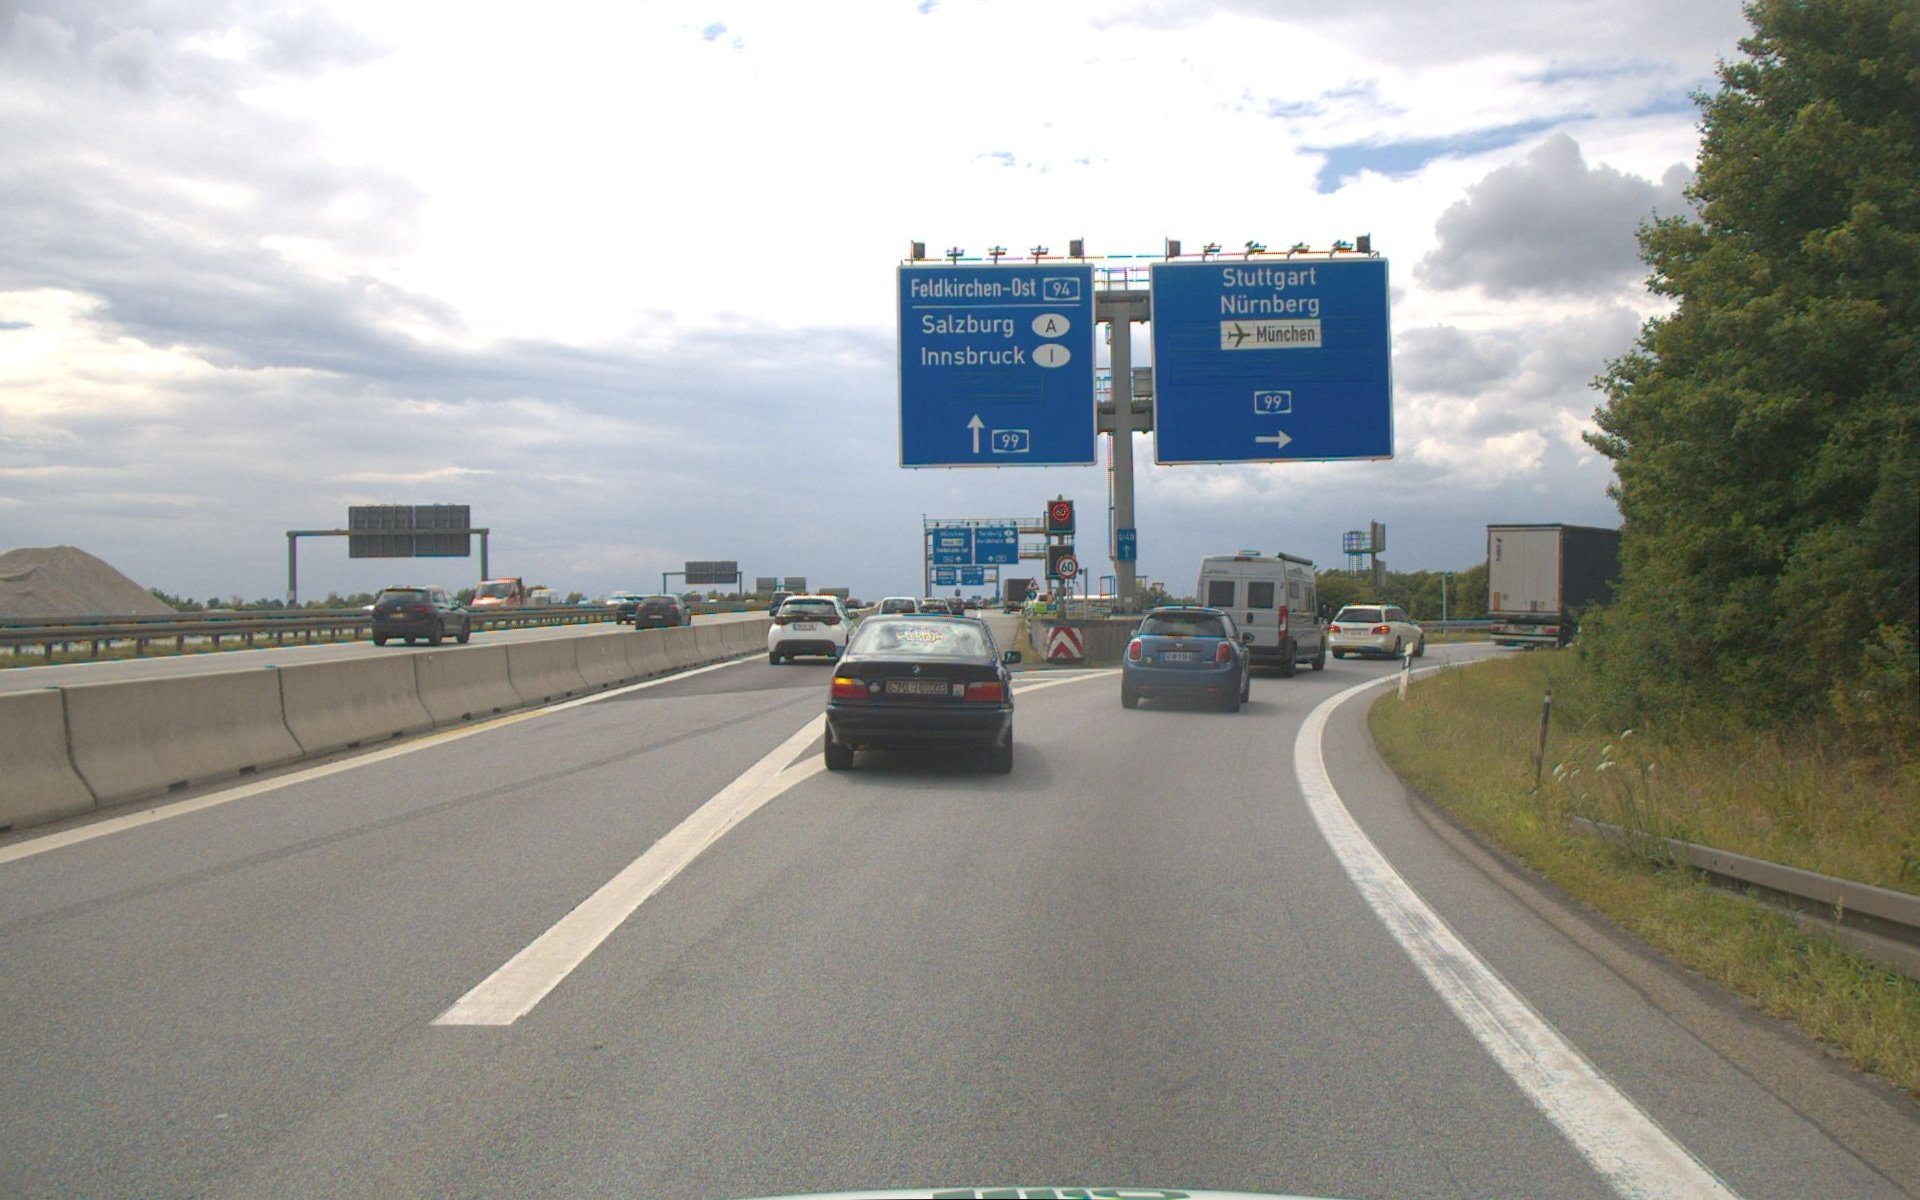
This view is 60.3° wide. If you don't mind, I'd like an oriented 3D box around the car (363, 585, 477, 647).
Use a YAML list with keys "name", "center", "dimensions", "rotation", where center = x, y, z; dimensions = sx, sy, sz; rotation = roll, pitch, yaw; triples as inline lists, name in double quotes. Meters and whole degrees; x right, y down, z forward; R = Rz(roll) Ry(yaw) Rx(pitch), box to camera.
- name: "car"
  center: [-15.315, 0.441, 47.145]
  dimensions: [1.862, 1.667, 4.233]
  rotation: [1, 0, 0]

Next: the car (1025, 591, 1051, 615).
- name: "car"
  center: [6.803, 0.262, 144.515]
  dimensions: [1.953, 2.049, 3.999]
  rotation: [0, 0, -1]

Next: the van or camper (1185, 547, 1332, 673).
- name: "van or camper"
  center: [6.849, 0.199, 37.335]
  dimensions: [2.246, 2.613, 6.162]
  rotation: [0, 0, 20]

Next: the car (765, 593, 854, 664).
- name: "car"
  center: [-3.358, 0.602, 37.535]
  dimensions: [1.666, 1.534, 3.840]
  rotation: [0, 0, 0]

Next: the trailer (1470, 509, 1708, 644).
- name: "trailer"
  center: [22.372, -0.727, 58.148]
  dimensions: [3.283, 4.266, 12.949]
  rotation: [0, 0, 43]

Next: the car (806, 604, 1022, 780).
- name: "car"
  center: [-0.341, 0.750, 15.455]
  dimensions: [1.745, 1.402, 4.137]
  rotation: [0, 0, 1]

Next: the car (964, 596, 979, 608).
- name: "car"
  center: [1.394, 0.287, 201.606]
  dimensions: [1.766, 1.449, 4.001]
  rotation: [0, 0, 2]

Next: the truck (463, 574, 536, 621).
- name: "truck"
  center: [-24.468, -0.123, 88.101]
  dimensions: [2.230, 2.411, 6.199]
  rotation: [0, 0, -1]

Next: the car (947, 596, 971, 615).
- name: "car"
  center: [-0.057, 0.440, 128.218]
  dimensions: [1.827, 1.449, 4.000]
  rotation: [0, 0, 1]

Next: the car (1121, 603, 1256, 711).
- name: "car"
  center: [3.482, 0.783, 24.713]
  dimensions: [1.692, 1.444, 3.669]
  rotation: [1, 0, 13]

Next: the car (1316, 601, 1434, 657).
- name: "car"
  center: [11.901, 0.787, 47.227]
  dimensions: [2.164, 1.527, 4.780]
  rotation: [0, 0, 29]

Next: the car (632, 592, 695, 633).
- name: "car"
  center: [-11.480, 0.467, 64.291]
  dimensions: [1.737, 1.557, 4.000]
  rotation: [0, 0, 0]

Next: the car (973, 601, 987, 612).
- name: "car"
  center: [2.673, 0.866, 222.656]
  dimensions: [1.766, 1.449, 4.001]
  rotation: [0, 0, 2]

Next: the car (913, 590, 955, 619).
- name: "car"
  center: [-1.353, 0.240, 88.061]
  dimensions: [1.952, 1.494, 4.002]
  rotation: [0, 0, 4]

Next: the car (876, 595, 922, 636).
- name: "car"
  center: [-2.297, 0.566, 62.825]
  dimensions: [1.552, 1.510, 3.535]
  rotation: [0, 0, 1]

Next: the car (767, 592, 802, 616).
- name: "car"
  center: [-12.507, 0.257, 118.349]
  dimensions: [1.952, 1.713, 4.866]
  rotation: [0, 0, 0]

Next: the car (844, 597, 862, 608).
- name: "car"
  center: [-14.477, 0.335, 223.848]
  dimensions: [1.952, 1.494, 4.001]
  rotation: [0, 0, 2]

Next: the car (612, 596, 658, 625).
- name: "car"
  center: [-16.088, 0.494, 82.036]
  dimensions: [1.521, 1.400, 3.999]
  rotation: [1, 0, -1]
